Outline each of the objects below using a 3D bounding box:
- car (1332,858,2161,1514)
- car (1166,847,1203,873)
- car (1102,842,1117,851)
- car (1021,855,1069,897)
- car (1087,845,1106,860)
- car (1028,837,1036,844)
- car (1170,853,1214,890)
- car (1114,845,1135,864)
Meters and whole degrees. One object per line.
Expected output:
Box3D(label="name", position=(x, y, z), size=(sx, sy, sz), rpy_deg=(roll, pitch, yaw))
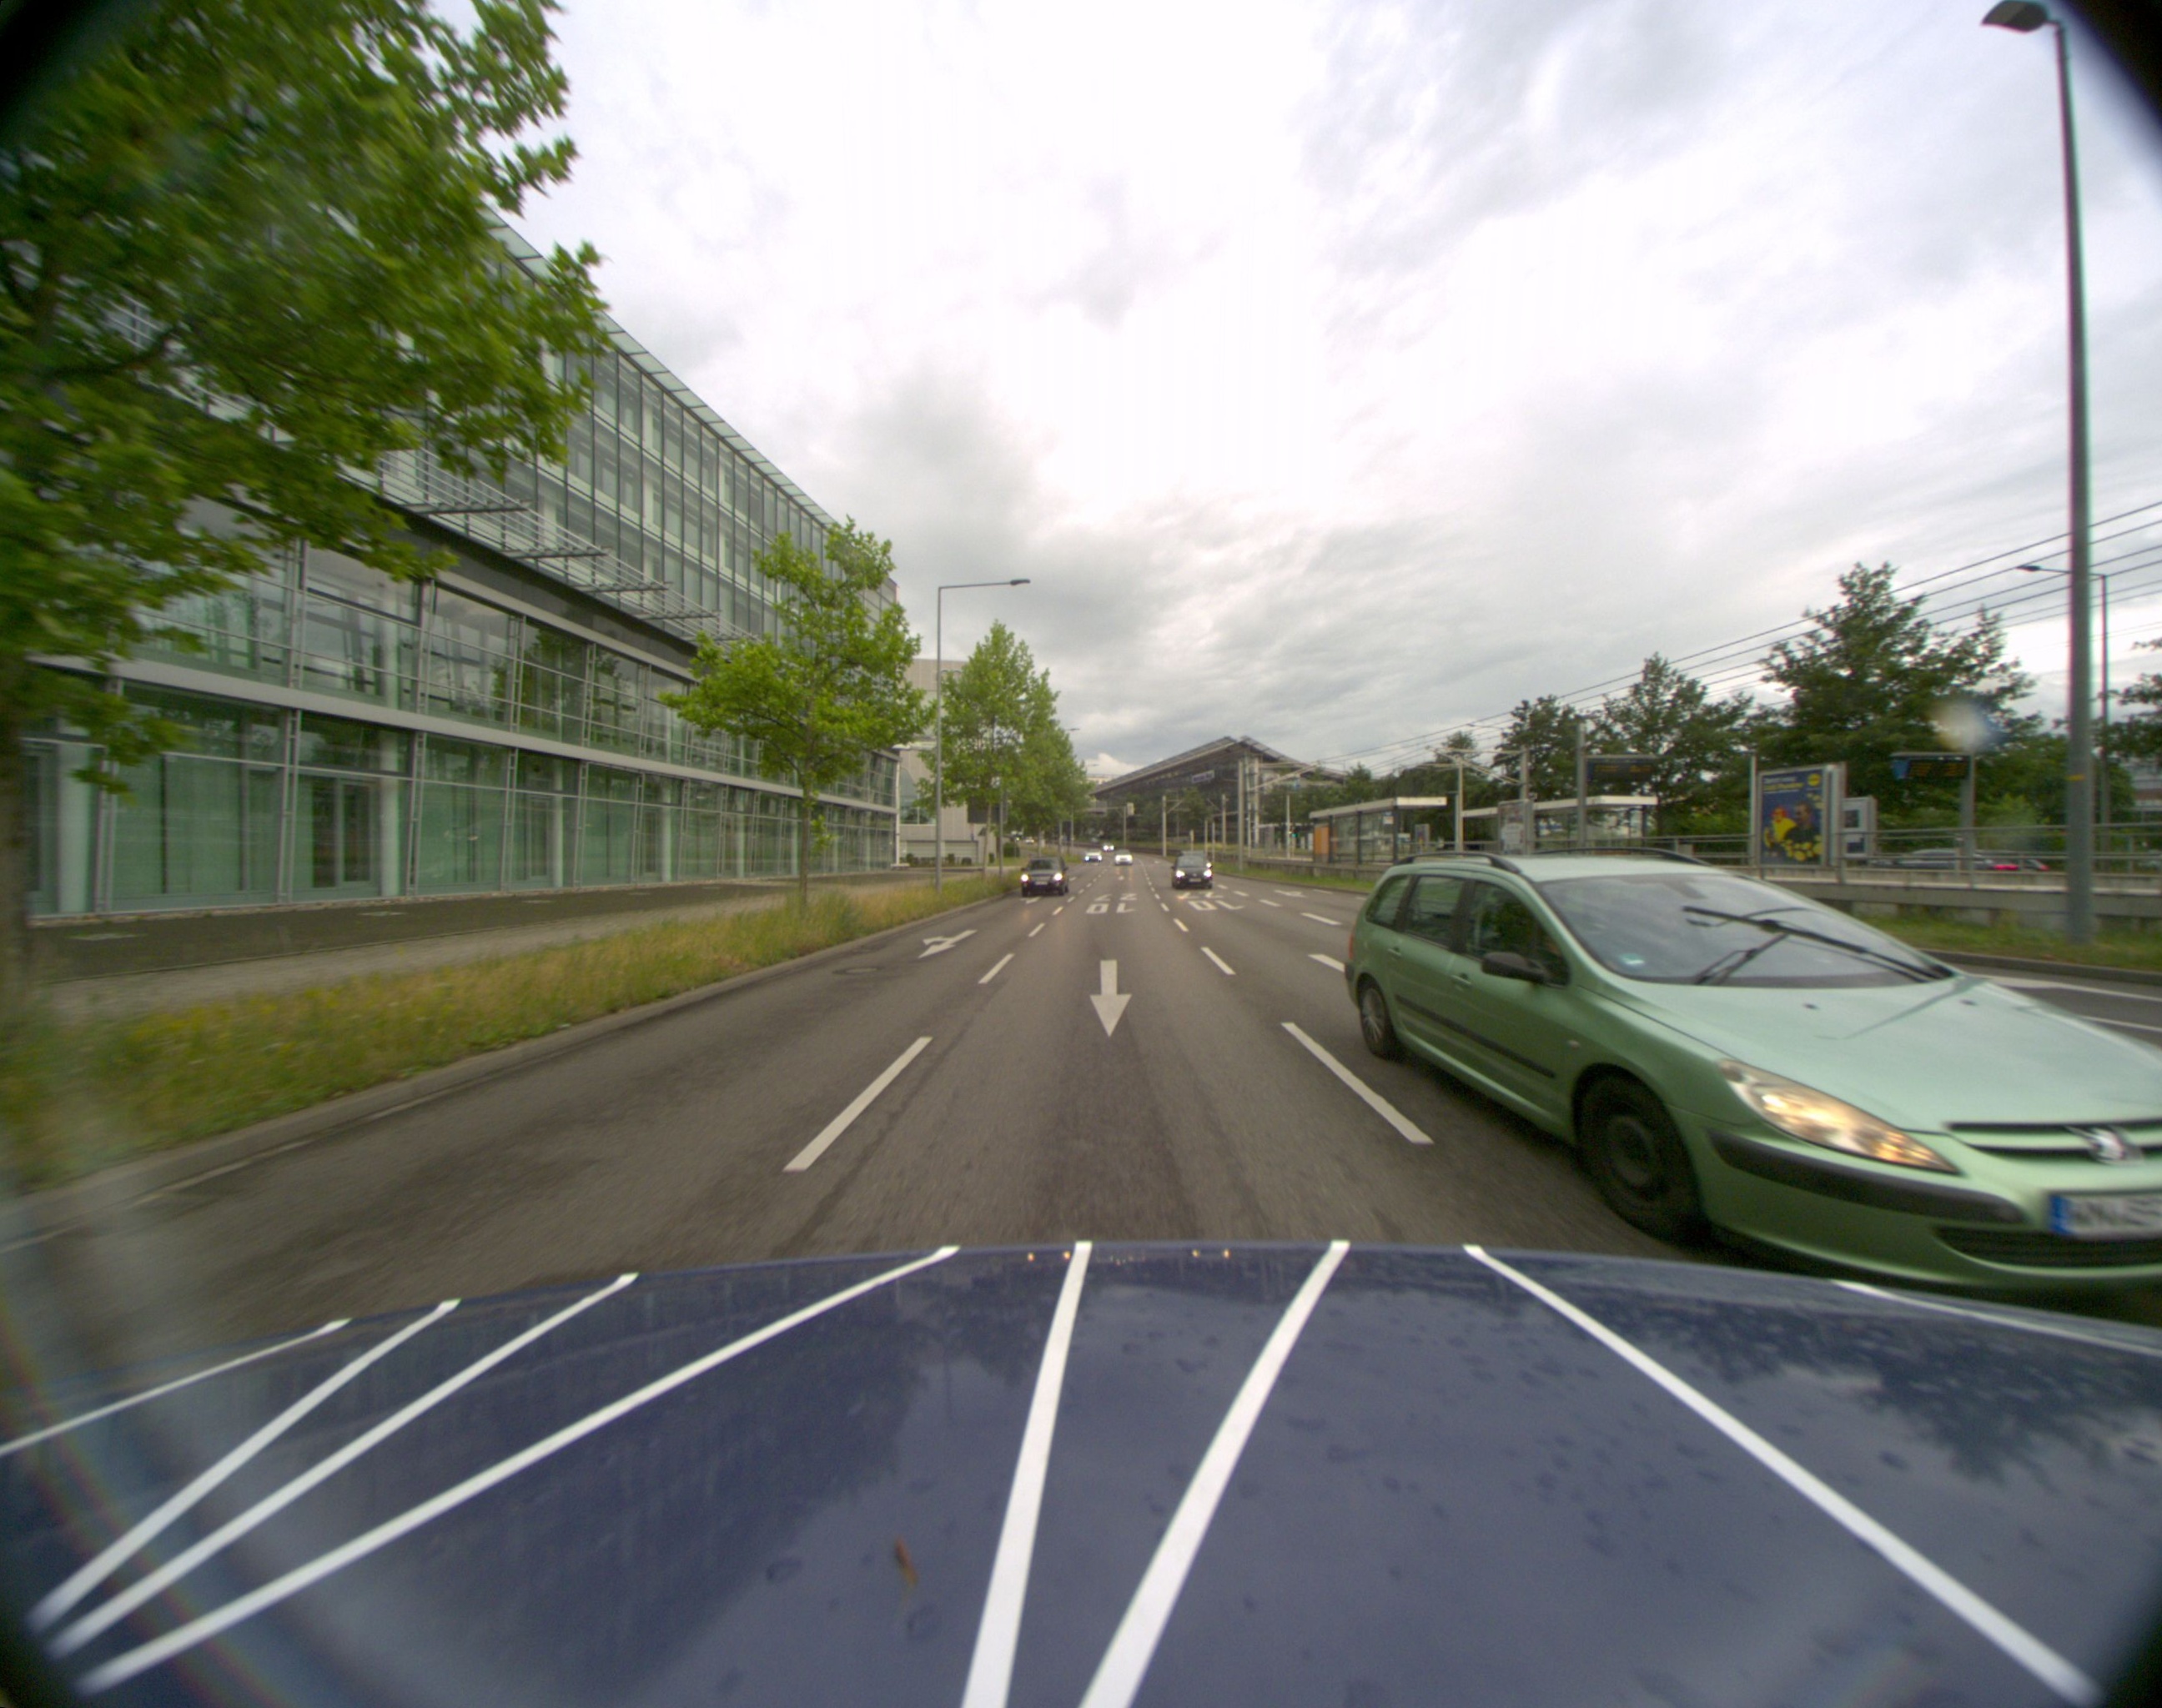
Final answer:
Box3D(label="car", position=(2.937, 0.833, 4.063), size=(1.699, 1.460, 4.402), rpy_deg=(-2, 1, 0))
Box3D(label="car", position=(6.833, 0.355, 50.492), size=(1.731, 1.583, 4.191), rpy_deg=(-2, 1, -1))
Box3D(label="car", position=(4.696, -1.290, 126.726), size=(1.741, 1.469, 3.997), rpy_deg=(-2, 0, -8))
Box3D(label="car", position=(-1.498, 0.913, 33.355), size=(1.770, 1.620, 4.324), rpy_deg=(-2, 0, 1))
Box3D(label="car", position=(1.765, -0.190, 89.104), size=(1.999, 1.669, 3.820), rpy_deg=(-2, 1, -1))
Box3D(label="car", position=(-12.099, -3.389, 188.209), size=(1.829, 1.701, 4.151), rpy_deg=(-2, 1, -4))
Box3D(label="car", position=(5.144, 0.788, 35.583), size=(1.696, 1.514, 3.905), rpy_deg=(-2, 1, 4))
Box3D(label="car", position=(4.351, 0.042, 76.785), size=(1.805, 1.713, 3.999), rpy_deg=(-2, 1, -1))
